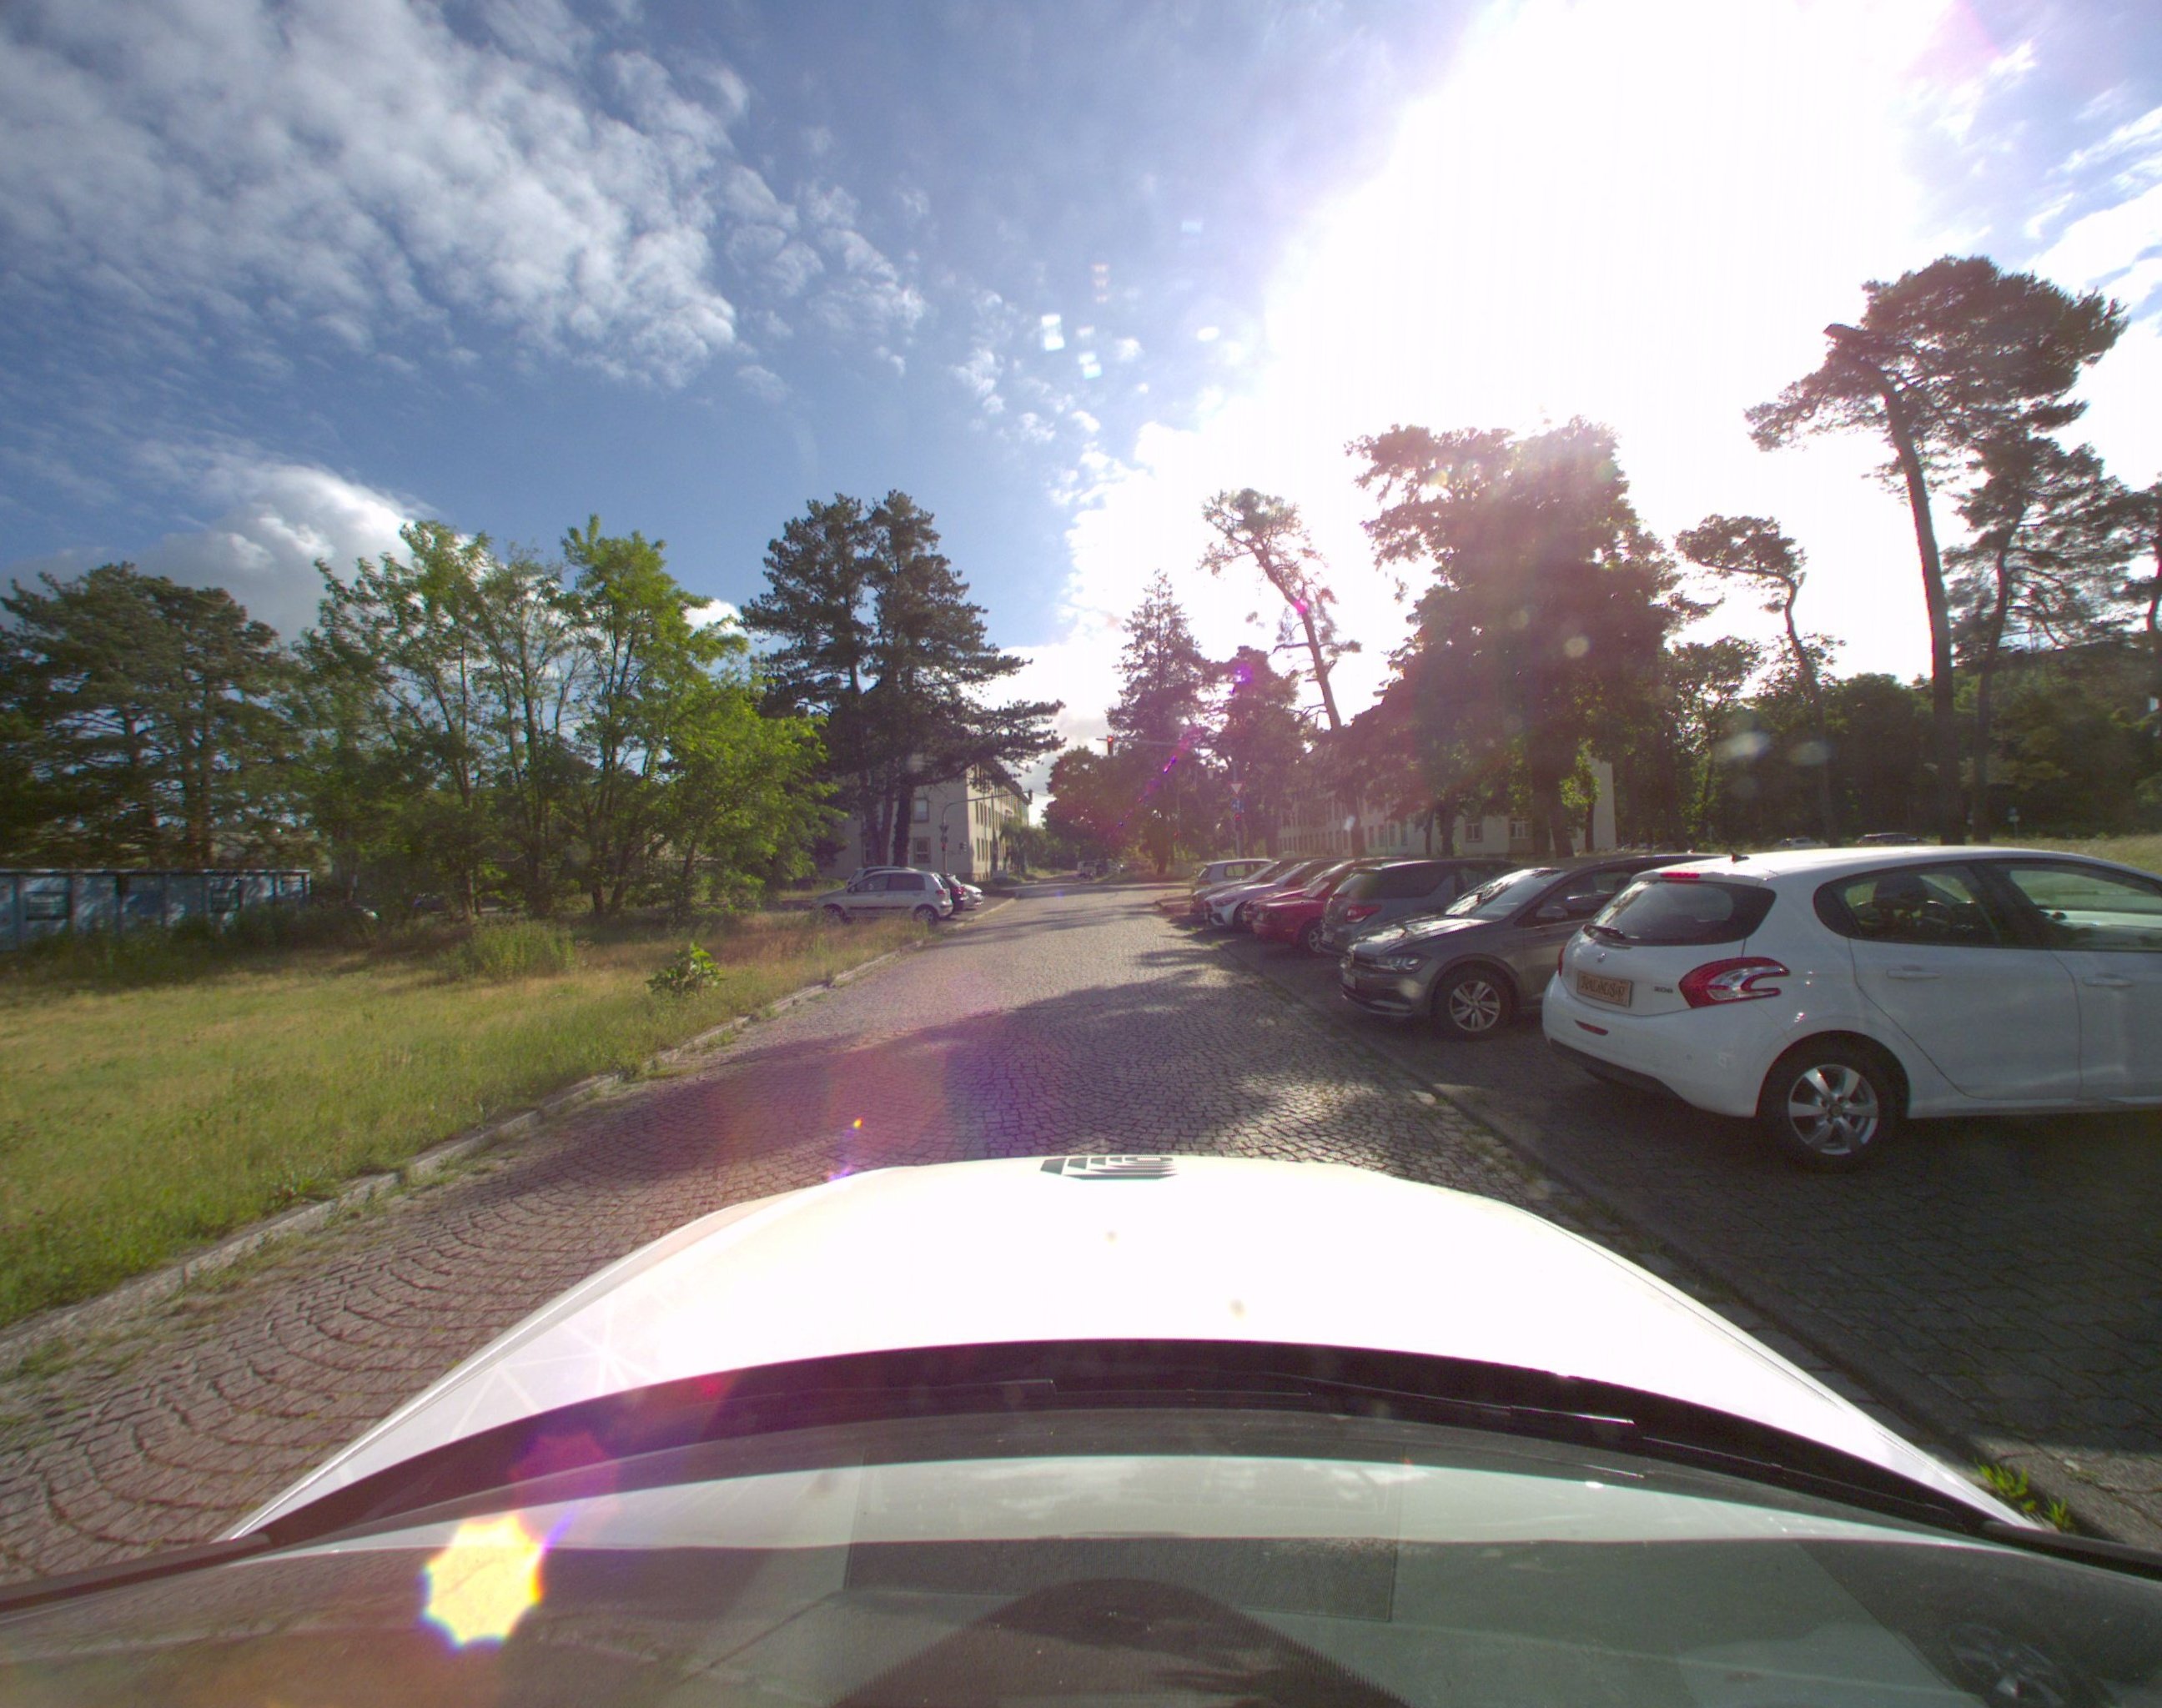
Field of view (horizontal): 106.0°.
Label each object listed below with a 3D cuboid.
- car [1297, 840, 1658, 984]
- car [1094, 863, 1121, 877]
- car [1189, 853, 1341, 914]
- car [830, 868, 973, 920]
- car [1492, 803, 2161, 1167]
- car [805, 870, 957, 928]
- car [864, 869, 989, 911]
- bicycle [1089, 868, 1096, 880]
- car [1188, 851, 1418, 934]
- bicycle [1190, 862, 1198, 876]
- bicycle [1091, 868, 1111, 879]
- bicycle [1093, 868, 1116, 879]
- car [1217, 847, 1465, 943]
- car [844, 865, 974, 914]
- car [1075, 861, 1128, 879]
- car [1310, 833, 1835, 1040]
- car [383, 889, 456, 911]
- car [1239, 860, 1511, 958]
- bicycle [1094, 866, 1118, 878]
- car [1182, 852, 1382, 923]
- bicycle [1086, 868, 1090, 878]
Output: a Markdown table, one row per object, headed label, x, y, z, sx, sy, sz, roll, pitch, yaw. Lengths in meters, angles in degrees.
| label | x | y | z | sx | sy | sz | roll | pitch | yaw |
| --- | --- | --- | --- | --- | --- | --- | --- | --- | --- |
| car | 4.900 | 0.682 | 10.477 | 3.695 | 1.449 | 1.816 | -4 | 0 | 0 |
| car | 2.775 | 1.729 | 86.407 | 2.776 | 1.467 | 1.669 | 0 | -1 | -4 |
| car | 5.131 | 0.797 | 23.055 | 3.868 | 1.415 | 1.637 | -4 | 0 | 1 |
| car | -5.382 | 1.179 | 24.783 | 3.977 | 1.480 | 1.801 | 0 | 0 | -3 |
| car | 4.685 | 0.582 | 4.677 | 3.694 | 1.534 | 1.761 | -4 | 0 | 1 |
| car | -5.359 | 1.183 | 22.172 | 3.737 | 1.487 | 1.644 | 0 | 0 | -3 |
| car | -5.626 | 1.291 | 30.073 | 4.323 | 1.468 | 1.829 | 0 | 0 | -3 |
| bicycle | 0.935 | 1.699 | 68.345 | 0.466 | 1.010 | 1.584 | 0 | -1 | -3 |
| car | 4.656 | 0.793 | 17.562 | 4.416 | 1.415 | 1.781 | -4 | 0 | 1 |
| bicycle | 8.277 | 1.100 | 59.813 | 0.300 | 0.961 | 1.584 | 0 | -1 | -3 |
| bicycle | 1.869 | 1.832 | 75.402 | 1.836 | 1.010 | 0.634 | 0 | -2 | -7 |
| bicycle | 2.093 | 1.791 | 73.645 | 2.002 | 1.010 | 0.630 | 0 | -2 | -7 |
| car | 4.803 | 0.738 | 15.445 | 4.113 | 1.449 | 1.637 | -4 | 0 | 1 |
| car | -5.768 | 1.183 | 27.746 | 4.070 | 1.593 | 1.883 | 0 | 0 | -3 |
| car | 2.290 | 1.757 | 90.001 | 5.535 | 2.014 | 1.988 | 0 | -2 | -18 |
| car | 4.250 | 0.674 | 7.555 | 3.694 | 1.449 | 1.856 | -4 | 0 | 1 |
| car | -47.563 | 3.290 | 58.630 | 1.895 | 1.433 | 4.001 | -2 | -1 | 1 |
| car | 4.570 | 0.838 | 13.078 | 3.694 | 1.223 | 1.747 | -4 | 0 | 1 |
| bicycle | 2.227 | 1.582 | 71.989 | 2.107 | 1.010 | 0.619 | 0 | -2 | -7 |
| car | 4.896 | 0.800 | 20.276 | 4.543 | 1.415 | 1.637 | -4 | 0 | 1 |
| bicycle | 0.700 | 1.937 | 81.592 | 0.416 | 1.010 | 1.483 | 0 | -1 | 2 |
